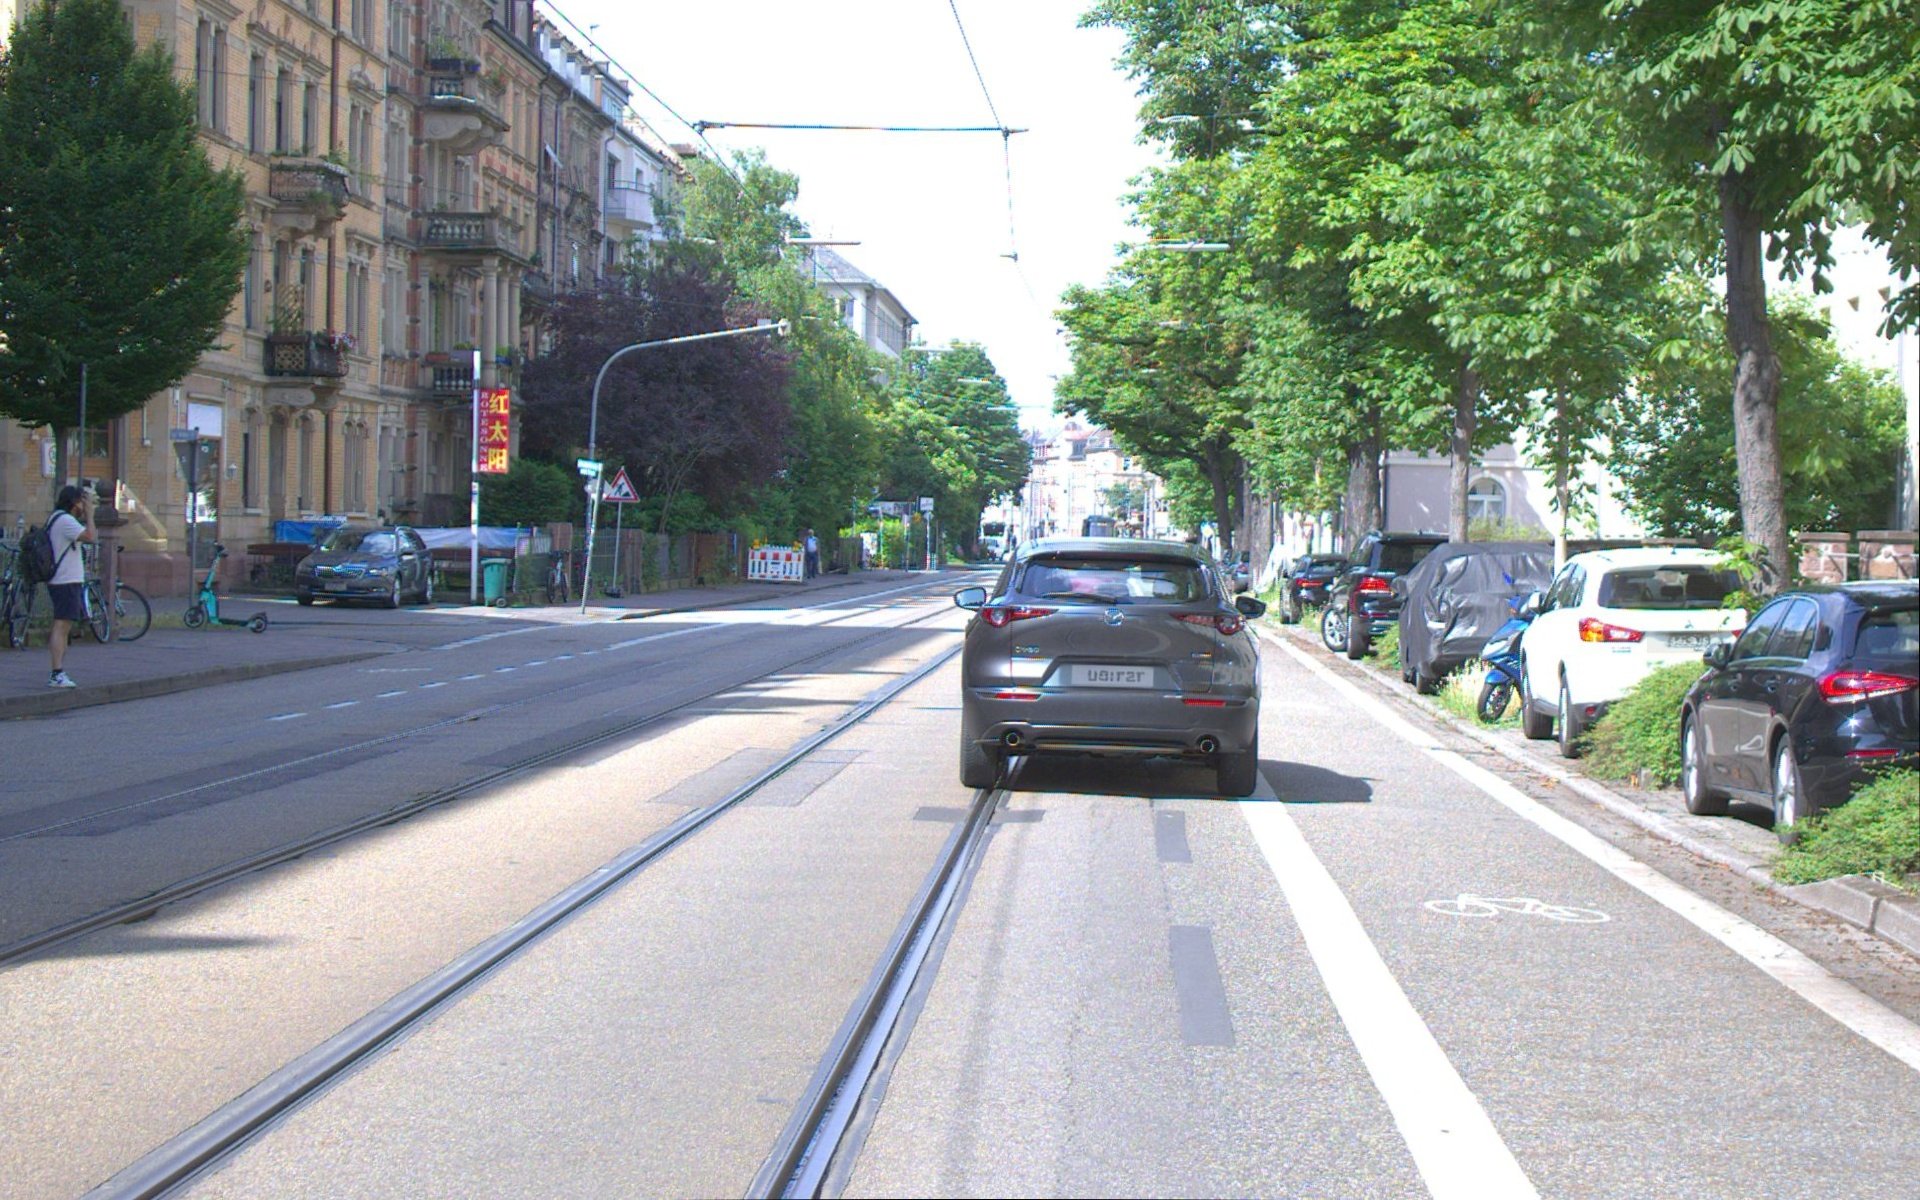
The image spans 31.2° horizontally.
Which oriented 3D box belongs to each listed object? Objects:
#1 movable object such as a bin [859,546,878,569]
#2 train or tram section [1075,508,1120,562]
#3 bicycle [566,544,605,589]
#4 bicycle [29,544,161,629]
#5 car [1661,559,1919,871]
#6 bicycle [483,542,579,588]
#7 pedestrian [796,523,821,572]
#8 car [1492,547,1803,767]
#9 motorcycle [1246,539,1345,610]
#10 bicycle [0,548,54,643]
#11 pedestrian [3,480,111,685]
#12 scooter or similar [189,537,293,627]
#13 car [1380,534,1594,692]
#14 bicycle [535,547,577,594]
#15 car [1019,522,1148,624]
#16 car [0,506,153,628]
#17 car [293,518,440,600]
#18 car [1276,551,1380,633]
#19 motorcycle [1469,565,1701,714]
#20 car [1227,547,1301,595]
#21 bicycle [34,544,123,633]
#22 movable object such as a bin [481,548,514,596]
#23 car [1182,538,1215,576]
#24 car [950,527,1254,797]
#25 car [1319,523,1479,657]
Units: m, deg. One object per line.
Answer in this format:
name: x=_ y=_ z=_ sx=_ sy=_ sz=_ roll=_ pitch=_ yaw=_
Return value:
movable object such as a bin: x=-4.123 y=-1.931 z=155.052 sx=0.745 sy=0.984 sz=1.114 roll=3 pitch=1 yaw=3
train or tram section: x=9.971 y=-4.758 z=250.930 sx=2.571 sy=3.759 sz=13.026 roll=1 pitch=1 yaw=0
bicycle: x=-8.076 y=-0.729 z=74.228 sx=0.530 sy=0.943 sz=1.968 roll=1 pitch=1 yaw=3
bicycle: x=-10.175 y=-0.162 z=40.447 sx=1.453 sy=0.973 sz=0.404 roll=1 pitch=1 yaw=3
car: x=5.154 y=0.561 z=19.274 sx=1.660 sy=1.516 sz=4.288 roll=2 pitch=1 yaw=2
bicycle: x=-9.093 y=-0.743 z=72.824 sx=1.961 sy=0.943 sz=0.532 roll=1 pitch=1 yaw=-2
pedestrian: x=-5.406 y=-1.875 z=122.658 sx=0.822 sy=1.700 sz=0.891 roll=1 pitch=1 yaw=0
car: x=5.436 y=0.389 z=27.686 sx=1.742 sy=1.575 sz=4.249 roll=2 pitch=1 yaw=2
motorcycle: x=8.170 y=-0.627 z=83.761 sx=2.385 sy=1.592 sz=0.677 roll=4 pitch=3 yaw=42
bicycle: x=-10.034 y=-0.059 z=36.150 sx=0.421 sy=0.973 sz=1.949 roll=1 pitch=1 yaw=2
pedestrian: x=-7.966 y=-0.160 z=30.371 sx=0.533 sy=1.754 sz=1.106 roll=3 pitch=1 yaw=2
scooter or similar: x=-10.267 y=-0.254 z=49.131 sx=1.361 sy=1.230 sz=0.404 roll=2 pitch=1 yaw=-25
car: x=5.921 y=0.101 z=39.075 sx=1.863 sy=1.647 sz=4.637 roll=1 pitch=1 yaw=2
bicycle: x=-8.290 y=-0.614 z=70.558 sx=0.530 sy=0.943 sz=1.968 roll=1 pitch=1 yaw=3
car: x=2.082 y=-0.466 z=57.487 sx=1.994 sy=1.523 sz=4.000 roll=3 pitch=1 yaw=2
car: x=-11.945 y=-0.445 z=42.093 sx=3.604 sy=1.398 sz=1.786 roll=2 pitch=1 yaw=7
car: x=-11.040 y=-0.778 z=64.230 sx=1.685 sy=1.454 sz=4.764 roll=1 pitch=1 yaw=3
car: x=7.275 y=-0.188 z=68.284 sx=1.706 sy=1.474 sz=4.196 roll=3 pitch=1 yaw=3
motorcycle: x=5.852 y=0.366 z=32.261 sx=2.006 sy=1.332 sz=0.747 roll=1 pitch=1 yaw=-1
car: x=9.386 y=-0.906 z=106.357 sx=1.846 sy=1.404 sz=4.395 roll=-1 pitch=1 yaw=0
bicycle: x=-10.004 y=-0.139 z=39.054 sx=0.421 sy=0.973 sz=1.949 roll=1 pitch=1 yaw=2
movable object such as a bin: x=-8.927 y=-0.541 z=66.307 sx=0.525 sy=0.902 sz=0.636 roll=1 pitch=1 yaw=1
car: x=12.643 y=-2.264 z=182.405 sx=1.721 sy=1.962 sz=4.207 roll=1 pitch=1 yaw=3
car: x=0.893 y=0.329 z=21.607 sx=1.721 sy=1.521 sz=3.589 roll=1 pitch=1 yaw=2
car: x=6.158 y=-0.187 z=48.688 sx=1.827 sy=1.776 sz=4.733 roll=1 pitch=1 yaw=2
